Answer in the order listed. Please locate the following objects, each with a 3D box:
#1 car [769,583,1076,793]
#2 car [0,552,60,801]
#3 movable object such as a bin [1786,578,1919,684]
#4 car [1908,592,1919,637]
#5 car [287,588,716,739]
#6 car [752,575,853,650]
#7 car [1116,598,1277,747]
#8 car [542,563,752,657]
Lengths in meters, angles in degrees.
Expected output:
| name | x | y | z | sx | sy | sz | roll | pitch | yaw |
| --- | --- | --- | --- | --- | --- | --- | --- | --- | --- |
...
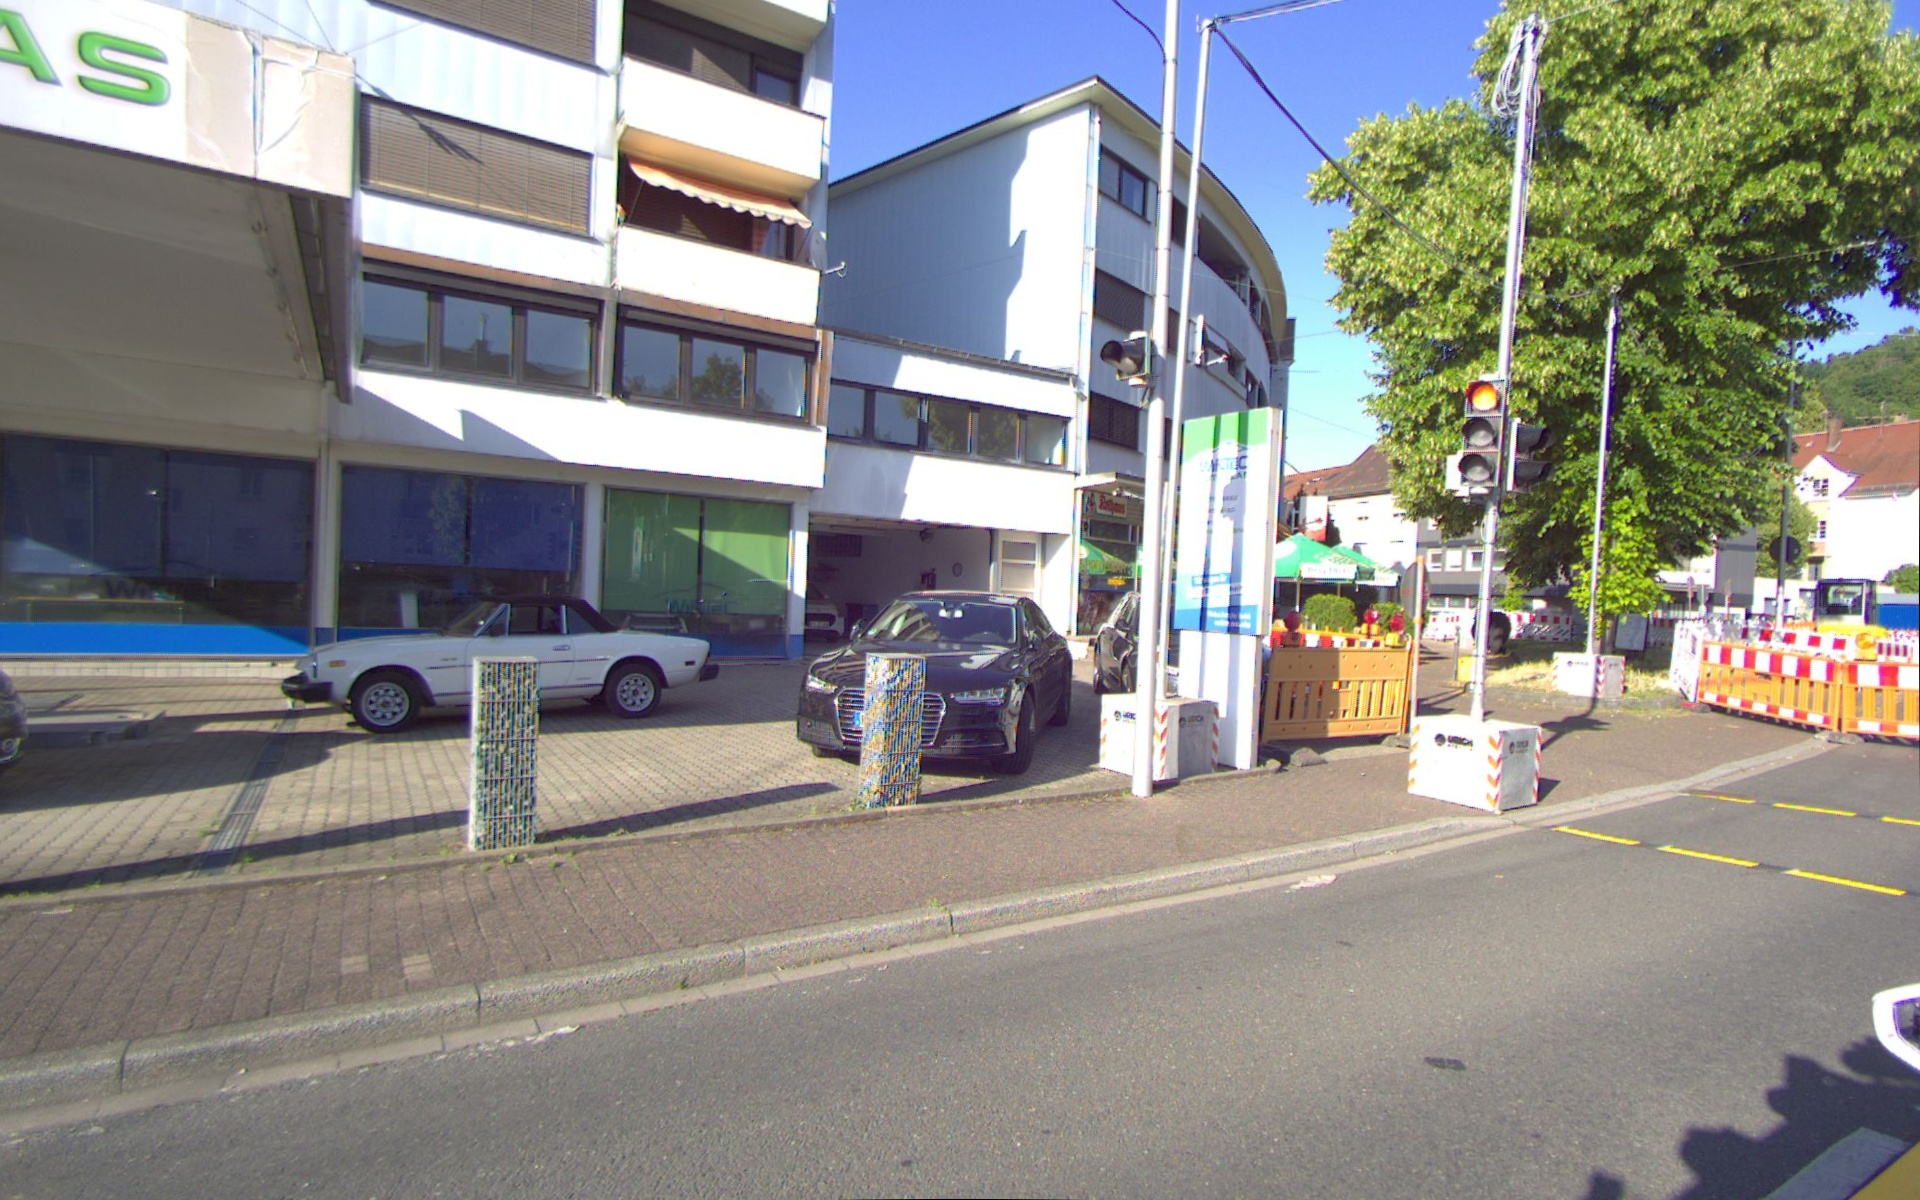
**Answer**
| name | x | y | z | sx | sy | sz | roll | pitch | yaw |
| --- | --- | --- | --- | --- | --- | --- | --- | --- | --- |
| car | -0.029 | 0.649 | 9.569 | 1.893 | 1.457 | 4.692 | 1 | -1 | 11 |
| car | -7.486 | 0.407 | 5.857 | 3.305 | 1.506 | 1.543 | 2 | 0 | 8 |
| movable object such as a bin | 21.540 | 0.701 | 24.136 | 3.882 | 2.356 | 1.635 | 1 | 0 | -36 |
| car | 49.514 | 0.790 | 48.411 | 6.043 | 2.149 | 2.586 | 2 | 0 | -12 |
| car | -4.680 | 0.591 | 10.485 | 3.865 | 1.315 | 1.511 | 1 | -1 | -35 |
| car | -3.898 | 0.252 | 24.379 | 1.550 | 1.629 | 3.734 | 2 | 1 | -23 |
| car | 2.754 | 0.744 | 12.078 | 1.564 | 1.457 | 3.887 | 1 | 0 | 11 |
| car | -6.105 | 0.217 | 19.708 | 3.593 | 1.696 | 1.707 | 2 | 0 | -34 |
